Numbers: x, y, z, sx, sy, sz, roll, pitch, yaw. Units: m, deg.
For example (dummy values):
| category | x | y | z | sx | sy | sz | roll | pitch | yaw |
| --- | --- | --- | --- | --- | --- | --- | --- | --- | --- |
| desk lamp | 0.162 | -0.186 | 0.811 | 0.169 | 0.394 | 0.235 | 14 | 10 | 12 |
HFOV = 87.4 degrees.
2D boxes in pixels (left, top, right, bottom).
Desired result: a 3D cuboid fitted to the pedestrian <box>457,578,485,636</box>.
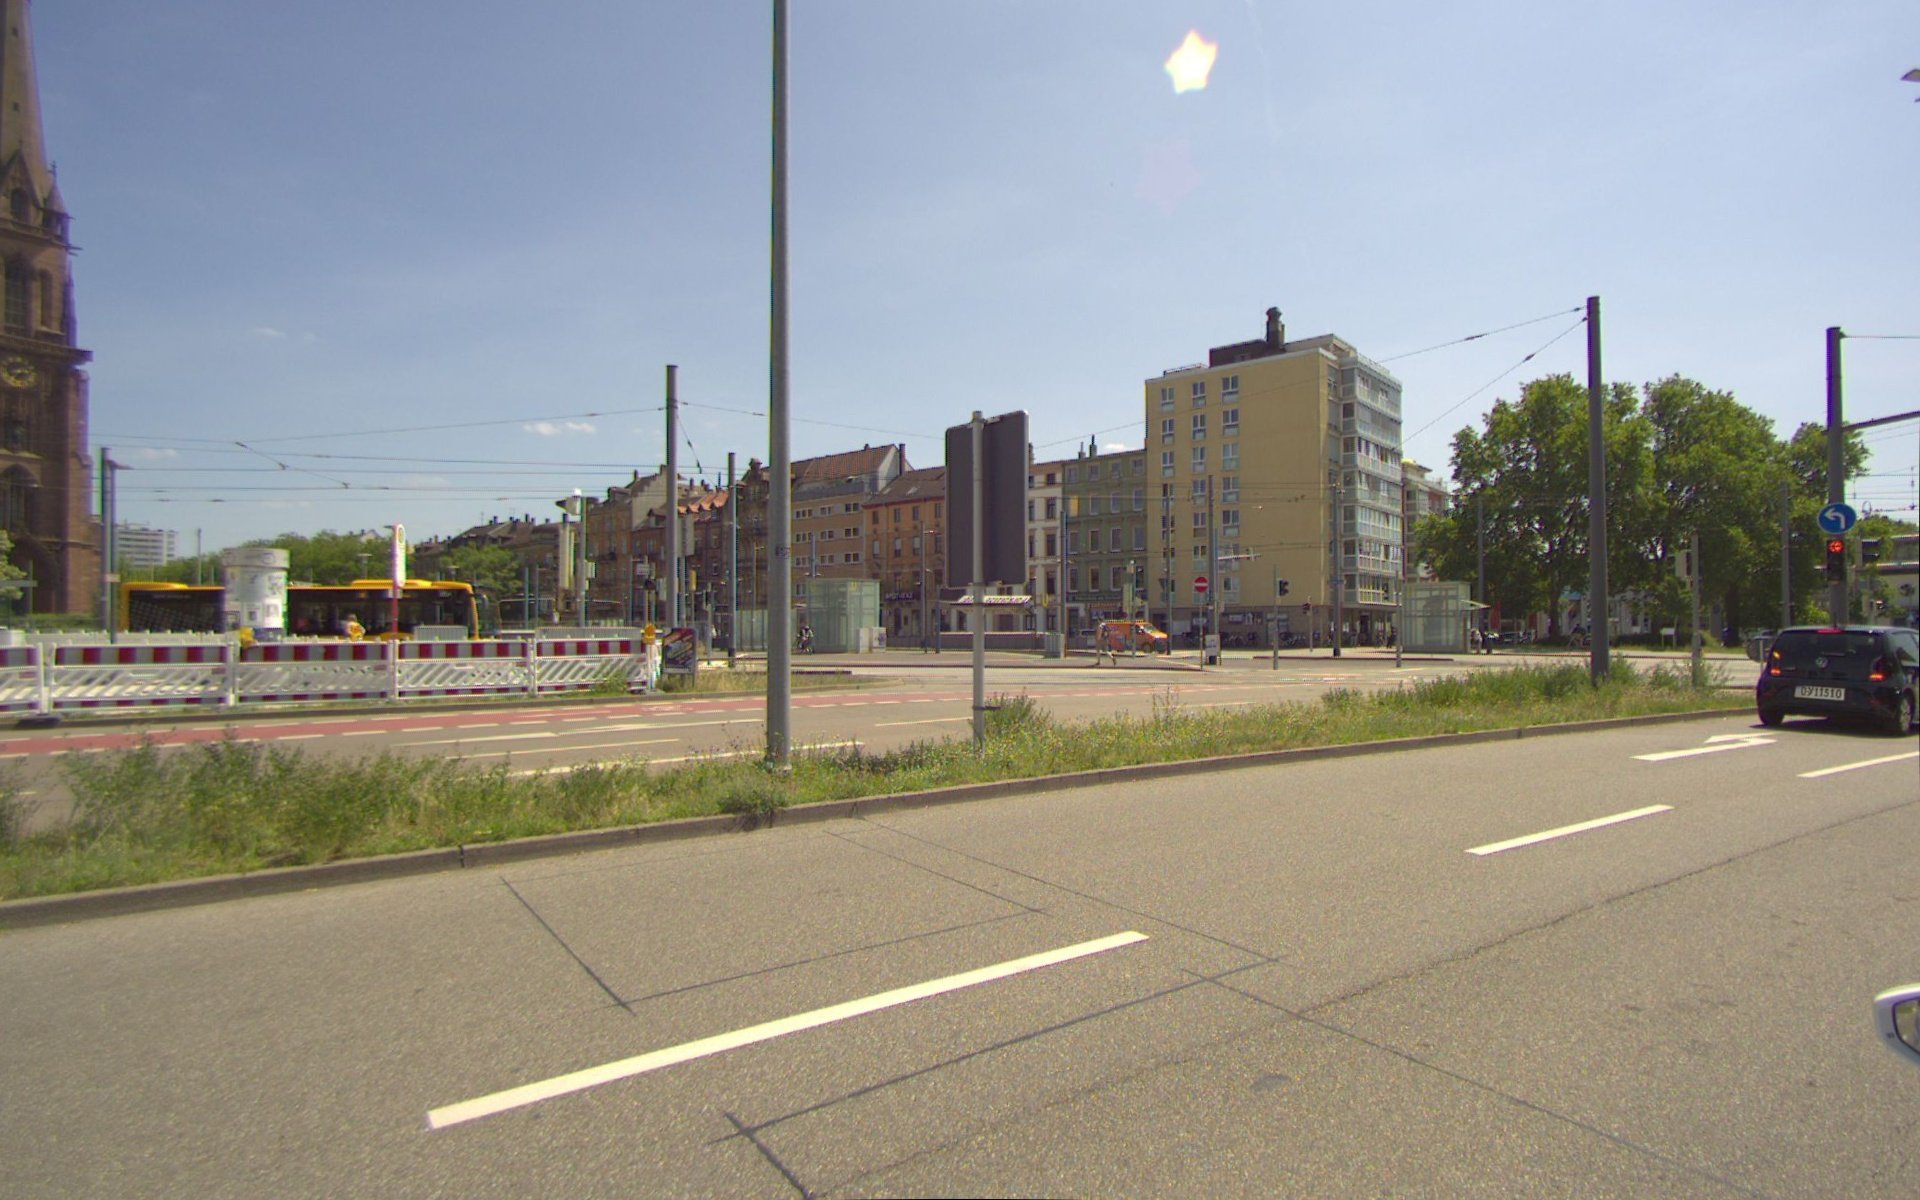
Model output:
| category | x | y | z | sx | sy | sz | roll | pitch | yaw |
| --- | --- | --- | --- | --- | --- | --- | --- | --- | --- |
| pedestrian | -17.419 | 0.251 | 35.773 | 0.651 | 2.022 | 0.611 | -1 | 0 | -1 |

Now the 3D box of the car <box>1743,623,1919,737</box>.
| category | x | y | z | sx | sy | sz | roll | pitch | yaw |
| --- | --- | --- | --- | --- | --- | --- | --- | --- | --- |
| car | 13.337 | 1.100 | 14.797 | 3.956 | 1.482 | 1.612 | 1 | -2 | -32 |

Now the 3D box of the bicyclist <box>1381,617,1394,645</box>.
| category | x | y | z | sx | sy | sz | roll | pitch | yaw |
| --- | --- | --- | --- | --- | --- | --- | --- | --- | --- |
| bicyclist | 32.789 | 2.346 | 77.005 | 0.724 | 2.134 | 0.777 | -1 | 0 | 11 |

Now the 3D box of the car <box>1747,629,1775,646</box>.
| category | x | y | z | sx | sy | sz | roll | pitch | yaw |
| --- | --- | --- | --- | --- | --- | --- | --- | --- | --- |
| car | 78.711 | 3.674 | 98.728 | 3.406 | 1.528 | 1.414 | -1 | 0 | -38 |

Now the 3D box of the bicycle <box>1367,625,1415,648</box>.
| category | x | y | z | sx | sy | sz | roll | pitch | yaw |
| --- | --- | --- | --- | --- | --- | --- | --- | --- | --- |
| bicycle | 32.988 | 2.771 | 76.969 | 3.256 | 1.617 | 0.819 | -2 | 0 | 12 |

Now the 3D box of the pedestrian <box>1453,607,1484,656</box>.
| category | x | y | z | sx | sy | sz | roll | pitch | yaw |
| --- | --- | --- | --- | --- | --- | --- | --- | --- | --- |
| pedestrian | 31.414 | 1.910 | 62.028 | 1.323 | 2.977 | 1.206 | -1 | 0 | -35 |

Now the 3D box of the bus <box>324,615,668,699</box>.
| category | x | y | z | sx | sy | sz | roll | pitch | yaw |
| --- | --- | --- | --- | --- | --- | --- | --- | --- | --- |
| bus | -8.515 | 0.979 | 18.927 | 5.769 | 1.266 | 1.234 | -1 | 0 | -39 |

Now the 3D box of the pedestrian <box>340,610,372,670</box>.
| category | x | y | z | sx | sy | sz | roll | pitch | yaw |
| --- | --- | --- | --- | --- | --- | --- | --- | --- | --- |
| pedestrian | -20.433 | 1.343 | 34.010 | 0.650 | 2.022 | 0.611 | -1 | 0 | 9 |

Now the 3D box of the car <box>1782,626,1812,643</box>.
| category | x | y | z | sx | sy | sz | roll | pitch | yaw |
| --- | --- | --- | --- | --- | --- | --- | --- | --- | --- |
| car | 80.264 | 3.273 | 96.283 | 3.389 | 1.437 | 1.499 | -1 | 0 | -38 |

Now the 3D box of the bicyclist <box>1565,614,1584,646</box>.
| category | x | y | z | sx | sy | sz | roll | pitch | yaw |
| --- | --- | --- | --- | --- | --- | --- | --- | --- | --- |
| bicyclist | 38.795 | 1.870 | 63.386 | 0.621 | 1.992 | 0.839 | -1 | 0 | -39 |

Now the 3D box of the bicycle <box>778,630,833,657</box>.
| category | x | y | z | sx | sy | sz | roll | pitch | yaw |
| --- | --- | --- | --- | --- | --- | --- | --- | --- | --- |
| bicycle | -8.631 | 2.407 | 55.915 | 3.411 | 1.466 | 0.874 | -1 | 0 | 38 |

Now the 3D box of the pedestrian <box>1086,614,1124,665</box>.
| category | x | y | z | sx | sy | sz | roll | pitch | yaw |
| --- | --- | --- | --- | --- | --- | --- | --- | --- | --- |
| pedestrian | 5.706 | 1.529 | 39.562 | 1.166 | 1.959 | 0.897 | -1 | 0 | 42 |

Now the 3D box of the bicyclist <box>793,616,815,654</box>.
| category | x | y | z | sx | sy | sz | roll | pitch | yaw |
| --- | --- | --- | --- | --- | --- | --- | --- | --- | --- |
| bicyclist | -8.670 | 1.938 | 55.932 | 0.784 | 2.040 | 0.859 | -1 | 0 | 37 |

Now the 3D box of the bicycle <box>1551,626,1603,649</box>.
| category | x | y | z | sx | sy | sz | roll | pitch | yaw |
| --- | --- | --- | --- | --- | --- | --- | --- | --- | --- |
| bicycle | 38.874 | 2.354 | 63.323 | 0.665 | 1.404 | 2.753 | -1 | 0 | -38 |

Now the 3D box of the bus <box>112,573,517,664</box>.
| category | x | y | z | sx | sy | sz | roll | pitch | yaw |
| --- | --- | --- | --- | --- | --- | --- | --- | --- | --- |
| bus | -23.109 | 0.711 | 36.749 | 12.021 | 3.081 | 3.736 | 0 | -1 | -5 |

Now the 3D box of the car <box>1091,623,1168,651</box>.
| category | x | y | z | sx | sy | sz | roll | pitch | yaw |
| --- | --- | --- | --- | --- | --- | --- | --- | --- | --- |
| car | 10.545 | 2.263 | 62.698 | 4.575 | 1.635 | 1.665 | -1 | 0 | 44 |
